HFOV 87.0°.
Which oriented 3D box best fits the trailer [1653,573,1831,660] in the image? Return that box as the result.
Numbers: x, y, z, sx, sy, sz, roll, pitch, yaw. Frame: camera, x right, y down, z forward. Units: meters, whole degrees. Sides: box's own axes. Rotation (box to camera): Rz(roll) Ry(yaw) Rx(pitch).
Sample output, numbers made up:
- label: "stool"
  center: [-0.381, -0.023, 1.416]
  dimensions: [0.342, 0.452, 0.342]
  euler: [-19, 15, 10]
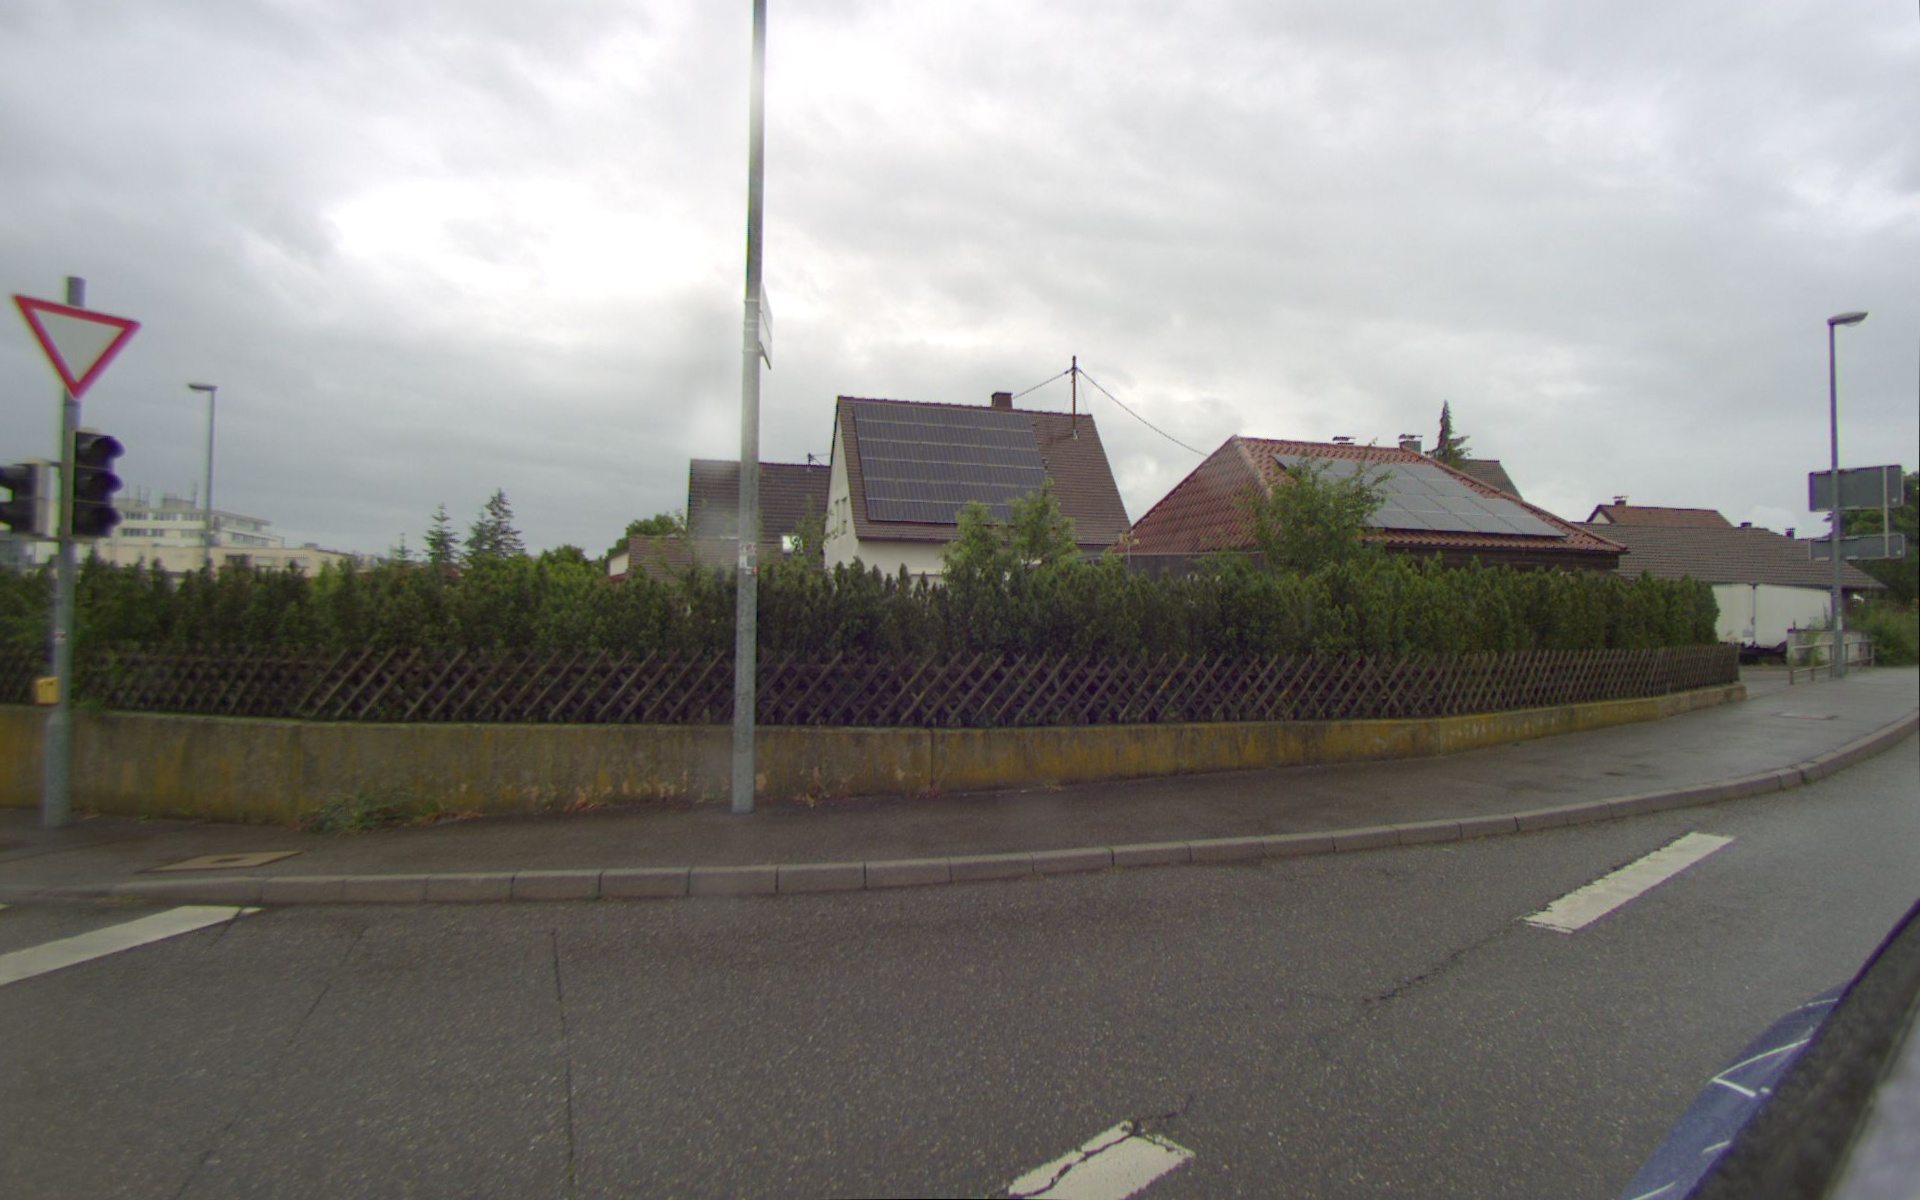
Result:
- label: "trailer"
  center: [23.722, 0.504, 30.731]
  dimensions: [4.605, 2.550, 1.652]
  euler: [0, -2, -13]
